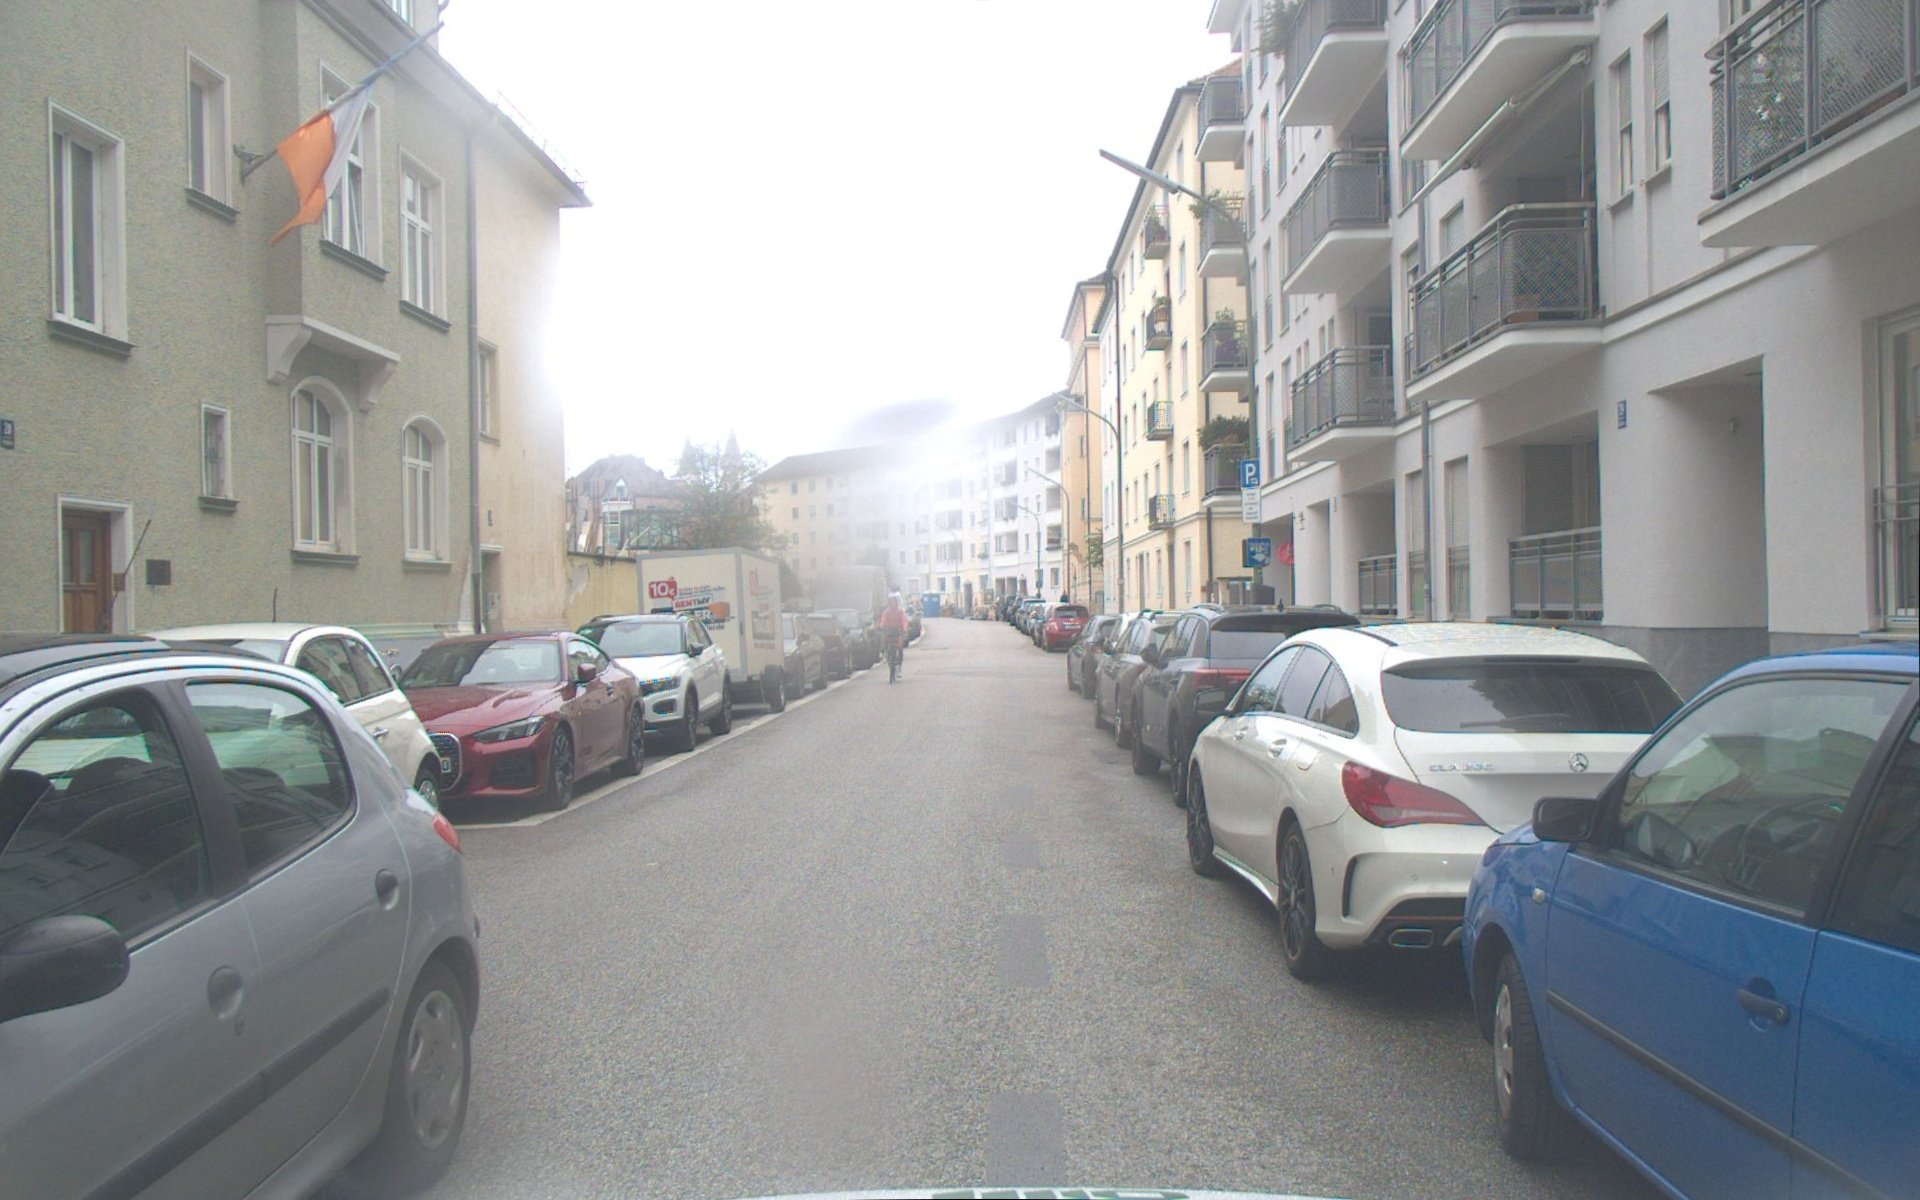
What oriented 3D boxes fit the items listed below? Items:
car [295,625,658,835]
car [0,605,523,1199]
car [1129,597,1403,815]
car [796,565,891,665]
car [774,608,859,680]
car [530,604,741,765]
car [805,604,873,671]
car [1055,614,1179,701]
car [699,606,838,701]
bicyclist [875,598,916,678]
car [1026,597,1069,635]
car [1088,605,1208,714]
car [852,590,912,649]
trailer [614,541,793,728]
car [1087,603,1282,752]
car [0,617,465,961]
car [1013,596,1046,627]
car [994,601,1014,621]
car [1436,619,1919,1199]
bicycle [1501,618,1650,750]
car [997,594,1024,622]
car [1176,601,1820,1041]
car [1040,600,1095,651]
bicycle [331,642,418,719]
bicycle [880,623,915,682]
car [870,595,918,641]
[{"bbox_3d":[-3.961,0.992,14.359,1.823,1.437,4.333,-3,-1,0],"label":"car"},{"bbox_3d":[-2.099,0.752,2.924,1.548,1.436,3.613,-2,-1,2],"label":"car"},{"bbox_3d":[2.448,0.780,14.112,1.571,1.557,3.984,1,0,0],"label":"car"},{"bbox_3d":[-3.266,0.377,47.532,2.044,2.682,5.379,-1,0,3],"label":"car"},{"bbox_3d":[-3.196,0.951,37.439,1.666,1.471,3.824,0,1,-1],"label":"car"},{"bbox_3d":[-3.761,0.912,19.784,1.652,1.631,3.921,-3,0,0],"label":"car"},{"bbox_3d":[-3.056,0.931,42.329,1.554,1.565,3.542,-2,0,-2],"label":"car"},{"bbox_3d":[2.755,0.979,29.812,1.727,1.432,4.077,-1,-1,-1],"label":"car"},{"bbox_3d":[-3.504,0.949,31.053,1.729,1.565,4.543,-3,-1,4],"label":"car"},{"bbox_3d":[-1.320,0.772,34.076,0.679,1.589,0.967,-2,0,4],"label":"bicyclist"},{"bbox_3d":[3.650,0.640,69.487,1.566,1.517,3.798,-1,0,0],"label":"car"},{"bbox_3d":[2.849,0.868,25.613,1.488,1.557,3.526,0,0,0],"label":"car"},{"bbox_3d":[-2.792,0.658,60.119,1.844,1.965,4.601,-3,0,0],"label":"car"},{"bbox_3d":[-3.782,0.471,25.123,1.673,2.504,4.388,-3,0,3],"label":"trailer"},{"bbox_3d":[2.581,0.834,20.033,1.698,1.557,4.621,1,0,0],"label":"car"},{"bbox_3d":[-4.002,0.886,9.214,1.443,1.492,3.313,-3,0,0],"label":"car"},{"bbox_3d":[3.705,0.574,88.962,1.558,1.610,4.299,0,0,0],"label":"car"},{"bbox_3d":[2.927,0.724,110.550,1.246,1.321,2.797,-1,0,0],"label":"car"},{"bbox_3d":[2.346,0.780,3.535,1.586,1.437,3.553,1,-1,-1],"label":"car"},{"bbox_3d":[5.996,0.782,16.245,0.614,1.180,2.127,-1,0,-1],"label":"bicycle"},{"bbox_3d":[2.991,0.462,98.909,1.444,1.669,4.000,0,0,0],"label":"car"},{"bbox_3d":[2.114,0.758,7.752,1.624,1.465,4.206,1,0,0],"label":"car"},{"bbox_3d":[3.447,0.792,53.521,1.562,1.535,3.801,-1,0,1],"label":"car"},{"bbox_3d":[-7.783,1.053,22.054,0.512,0.922,1.928,2,0,-2],"label":"bicycle"},{"bbox_3d":[-1.286,1.068,34.060,0.493,1.148,1.774,-2,0,4],"label":"bicycle"},{"bbox_3d":[-2.648,0.690,67.027,1.667,1.720,4.028,-3,0,0],"label":"car"}]
